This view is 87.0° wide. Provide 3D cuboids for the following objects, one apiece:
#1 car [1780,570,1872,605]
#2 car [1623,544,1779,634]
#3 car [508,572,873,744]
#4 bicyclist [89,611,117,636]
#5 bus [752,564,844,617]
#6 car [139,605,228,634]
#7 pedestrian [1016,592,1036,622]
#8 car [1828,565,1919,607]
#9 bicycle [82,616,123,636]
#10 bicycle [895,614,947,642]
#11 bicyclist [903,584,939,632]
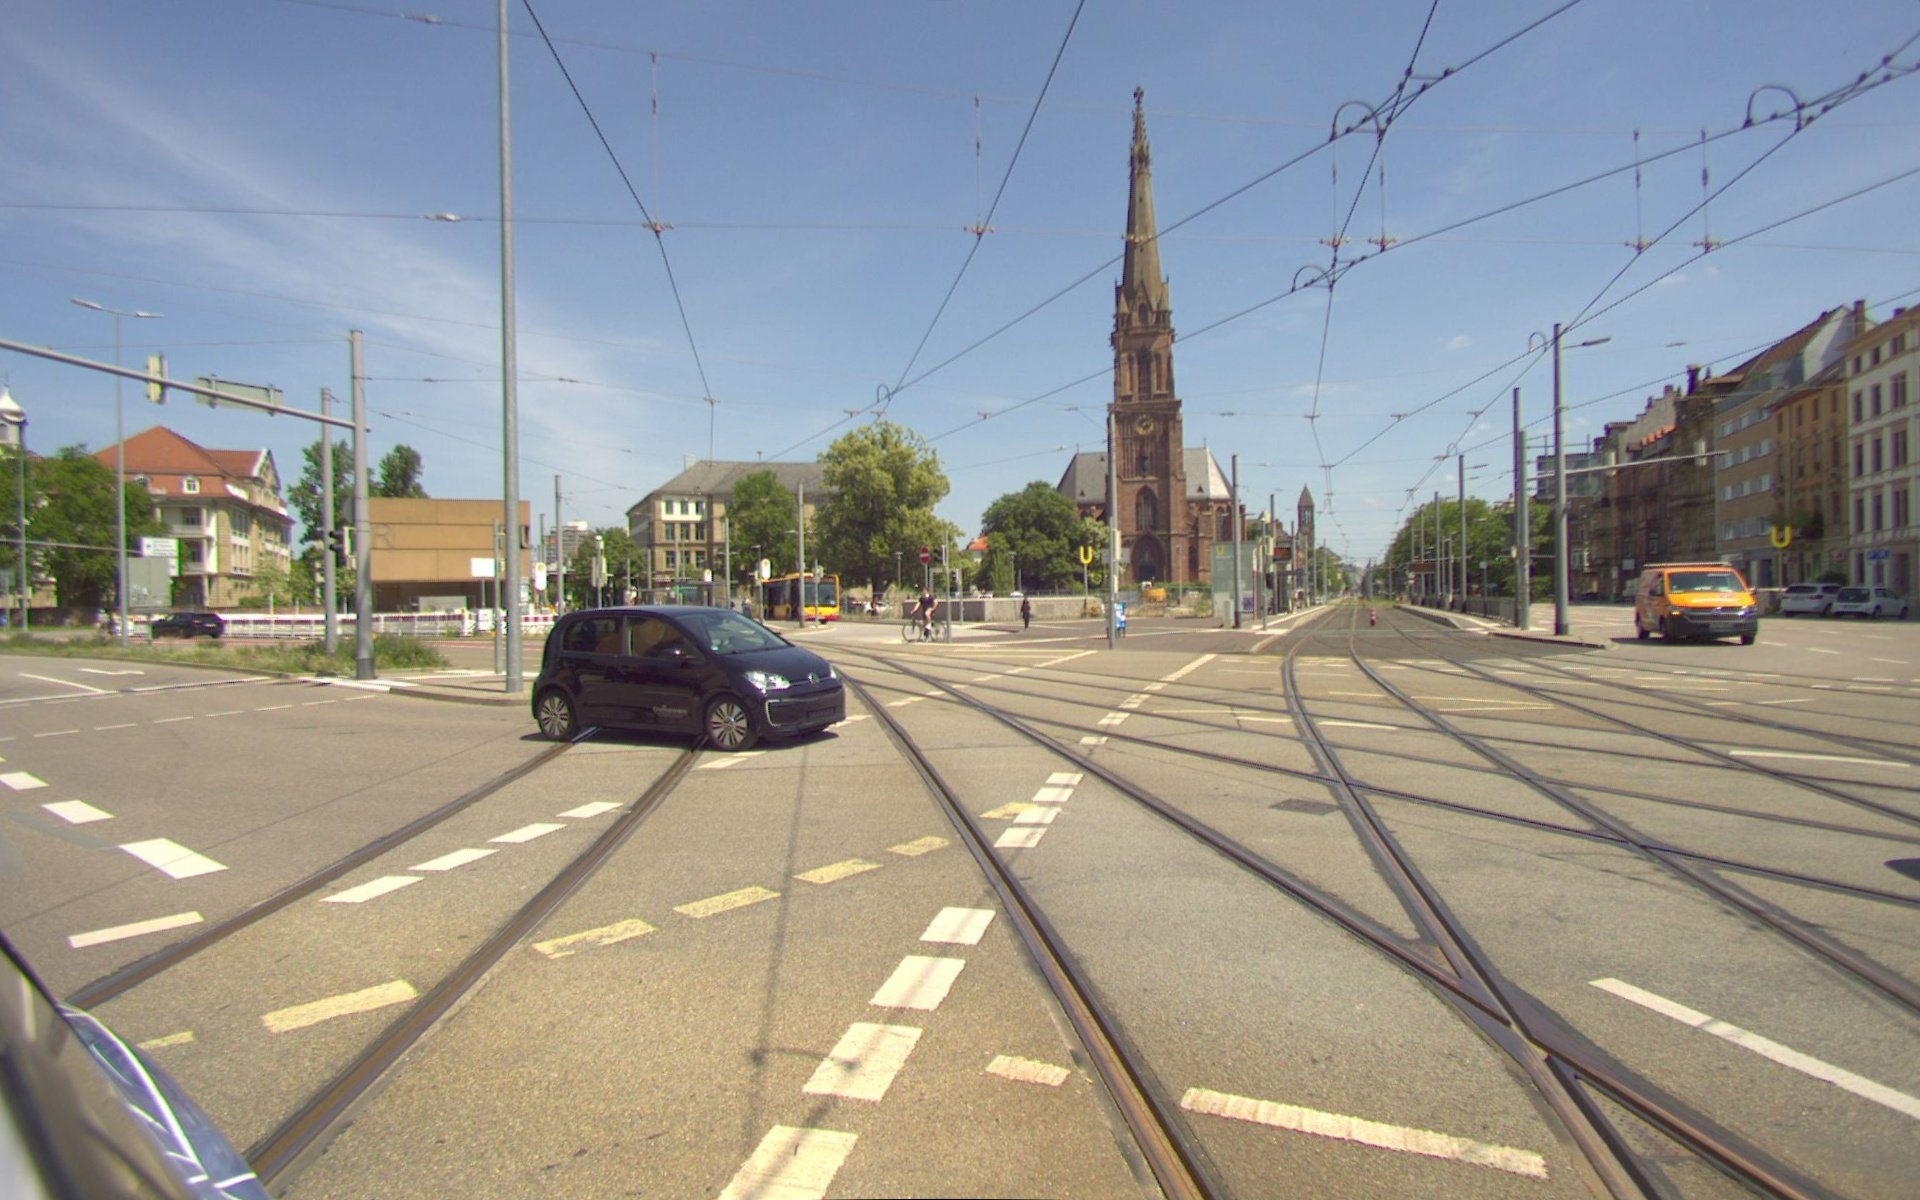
[{"bbox_3d":[40.970,-0.595,47.857,3.931,1.521,1.844,-2,0,-26],"label":"car"},{"bbox_3d":[18.971,-0.257,26.184,1.986,2.073,4.837,-1,0,21],"label":"car"},{"bbox_3d":[-2.983,0.559,11.072,3.723,1.588,1.732,-1,0,30],"label":"car"},{"bbox_3d":[-48.103,1.321,56.799,1.431,1.366,0.582,-1,2,24],"label":"bicyclist"},{"bbox_3d":[-10.692,-0.535,65.335,2.807,3.038,12.261,-1,0,-23],"label":"bus"},{"bbox_3d":[-42.363,1.063,55.197,4.821,1.476,1.982,-1,0,27],"label":"car"},{"bbox_3d":[3.026,0.318,46.647,0.518,1.344,1.001,-1,0,-19],"label":"pedestrian"},{"bbox_3d":[40.962,-0.626,45.204,3.931,1.763,1.844,-2,0,-26],"label":"car"},{"bbox_3d":[-48.059,1.452,56.722,2.218,1.080,0.872,-1,2,24],"label":"bicycle"},{"bbox_3d":[-1.294,0.913,33.846,0.628,0.861,1.874,-1,0,42],"label":"bicycle"},{"bbox_3d":[-1.310,0.267,33.894,0.438,1.540,1.237,0,3,41],"label":"bicyclist"}]
